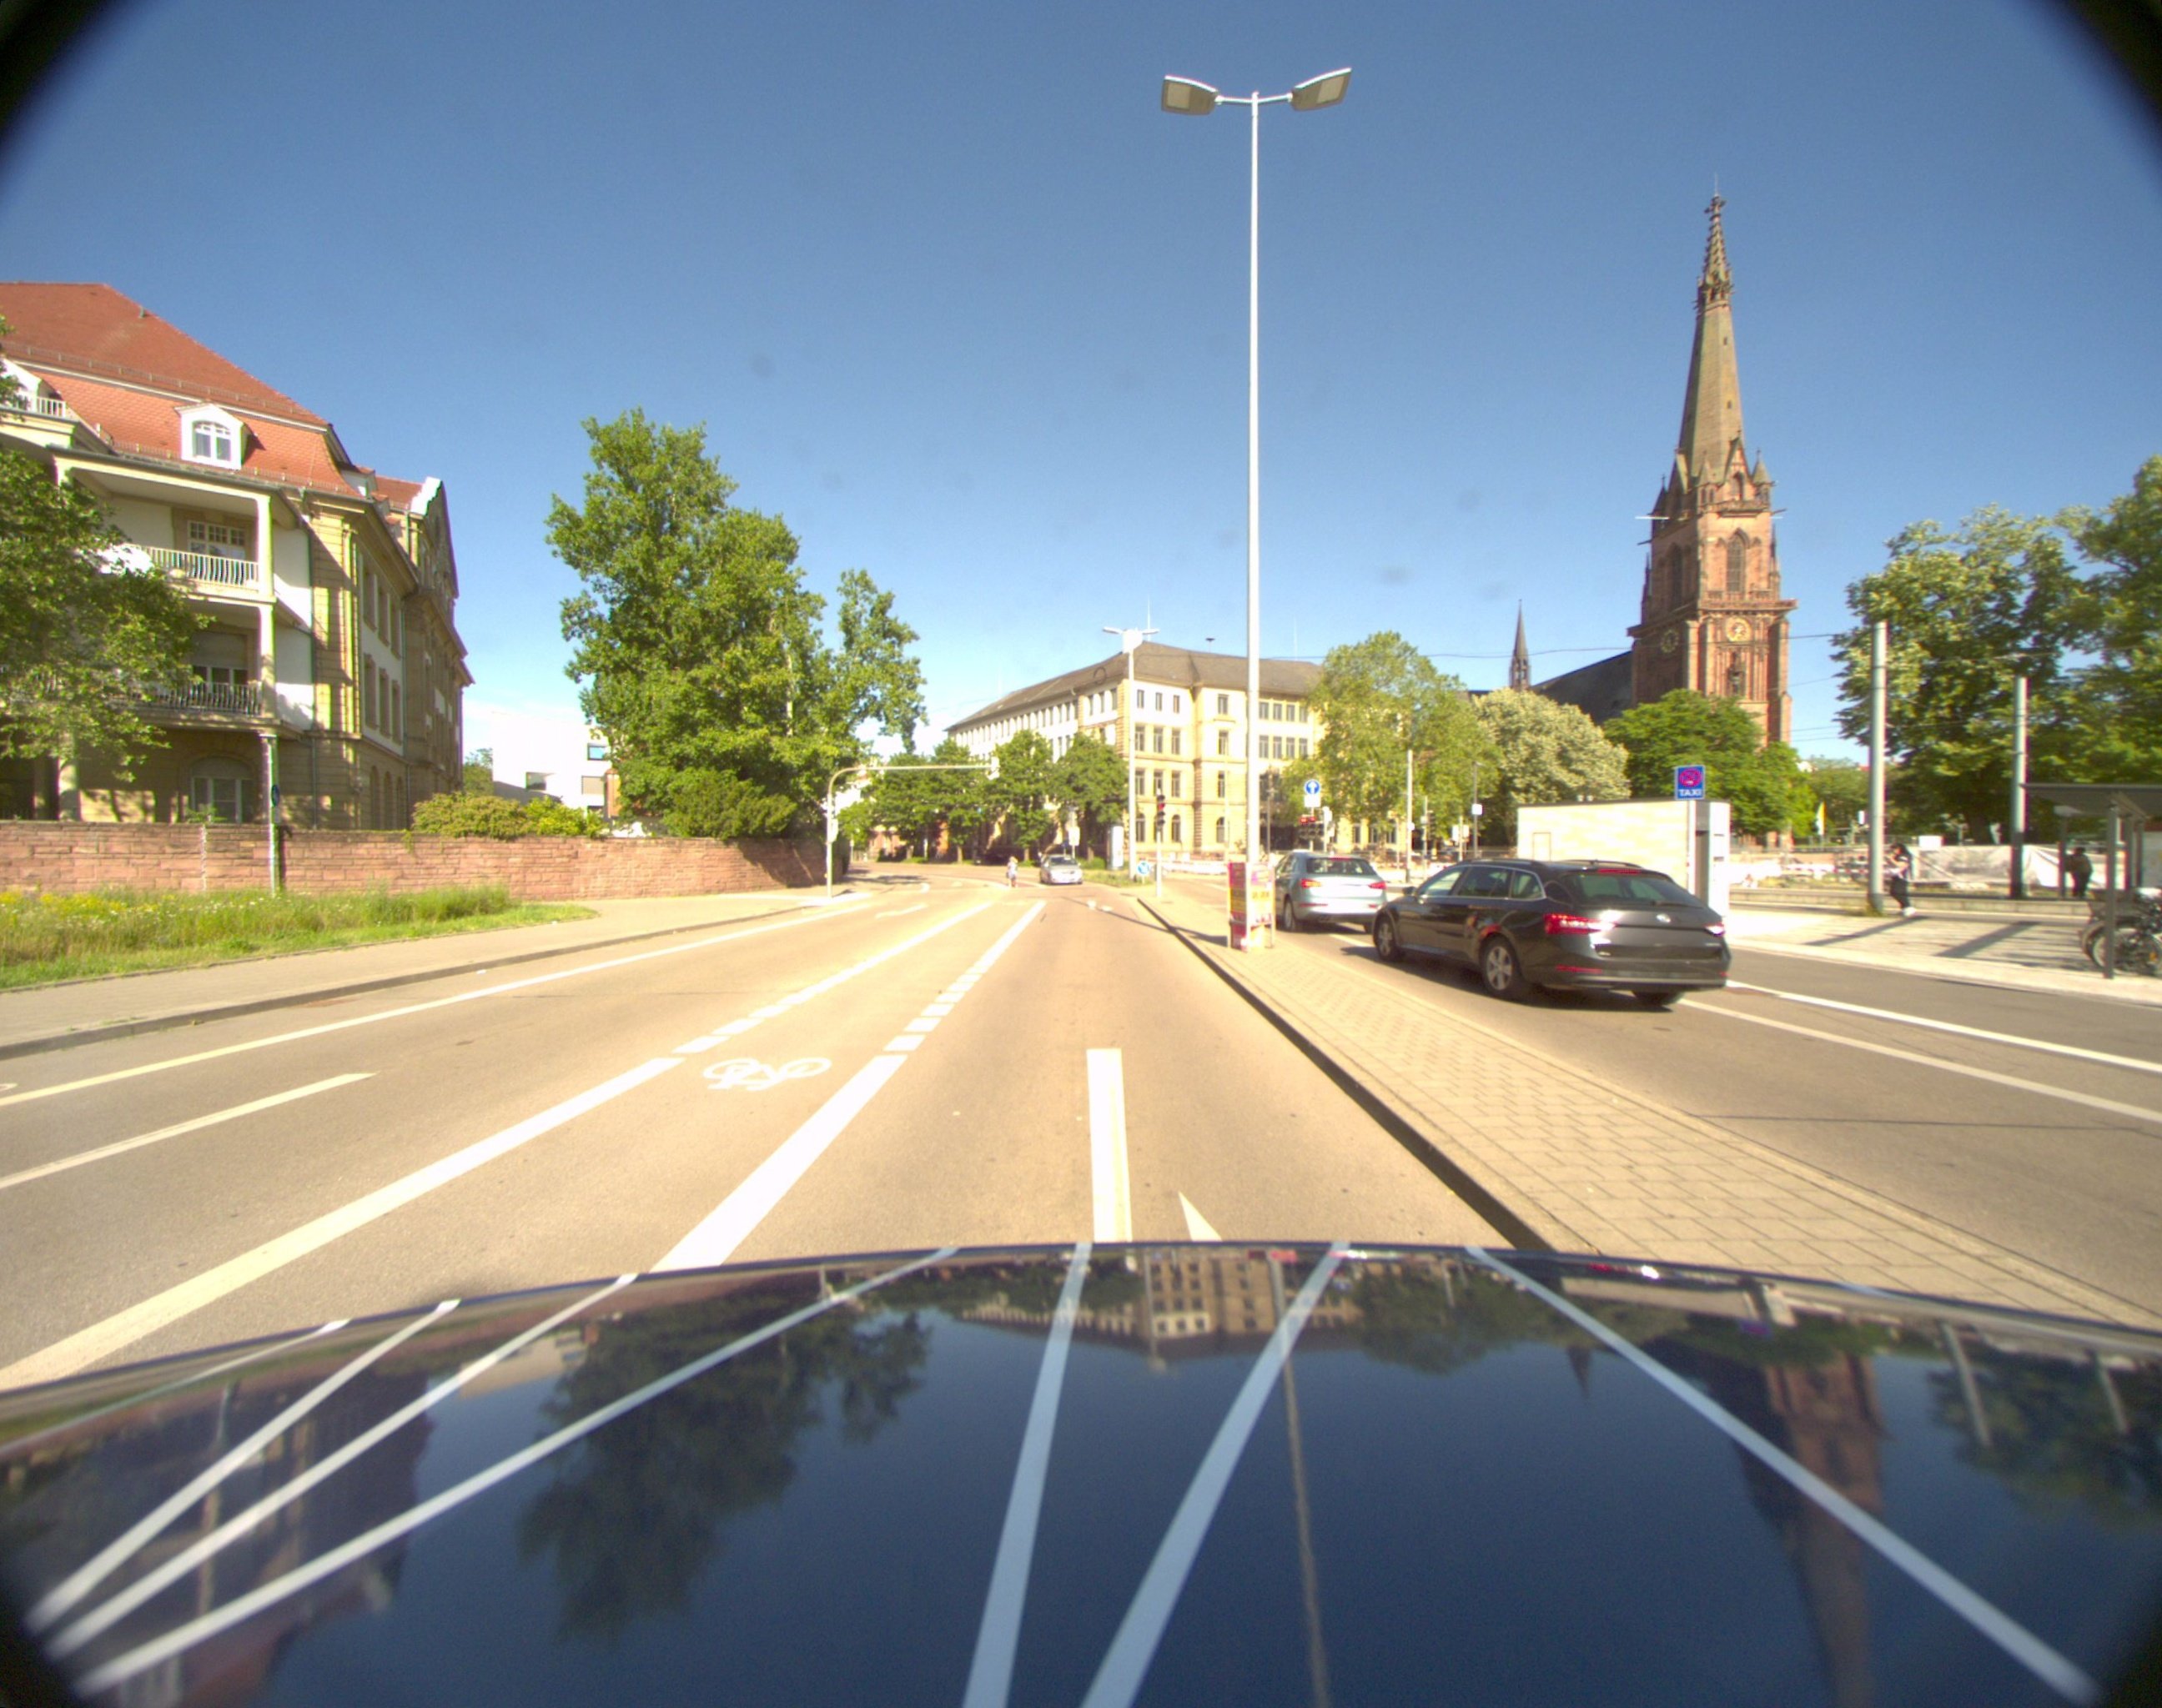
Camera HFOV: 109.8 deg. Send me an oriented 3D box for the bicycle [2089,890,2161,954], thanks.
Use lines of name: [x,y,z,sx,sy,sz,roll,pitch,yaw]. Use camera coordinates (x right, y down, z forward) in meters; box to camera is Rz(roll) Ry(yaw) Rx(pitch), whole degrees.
bicycle: [17.963,1.140,12.466,0.407,0.993,1.679,-3,2,-33]

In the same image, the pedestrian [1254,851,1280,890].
pedestrian: [8.159,0.720,33.355,0.932,1.657,0.630,0,1,-9]

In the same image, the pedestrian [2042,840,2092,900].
pedestrian: [30.603,0.491,23.601,0.619,1.849,0.703,0,1,11]

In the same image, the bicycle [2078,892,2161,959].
bicycle: [17.184,1.144,12.019,0.407,0.993,1.679,-3,2,-33]

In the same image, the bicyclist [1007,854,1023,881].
bicyclist: [-3.447,0.711,39.704,0.741,1.363,0.626,-2,1,-6]

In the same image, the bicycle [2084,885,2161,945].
bicycle: [19.027,1.086,13.344,0.407,0.993,1.679,-3,2,-33]

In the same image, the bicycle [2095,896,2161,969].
bicycle: [16.127,1.185,11.005,0.407,0.993,1.678,-3,3,-33]

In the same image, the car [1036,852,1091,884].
car: [-1.025,0.716,41.509,2.001,1.580,4.846,-3,1,-13]

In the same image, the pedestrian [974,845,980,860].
pedestrian: [-13.389,-0.189,97.798,0.578,1.893,0.781,-1,1,-36]

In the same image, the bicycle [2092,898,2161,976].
bicycle: [15.029,1.168,10.215,0.407,0.993,1.678,-3,3,-33]

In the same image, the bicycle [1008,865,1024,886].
bicycle: [-3.427,1.123,39.724,0.741,0.989,2.305,-2,1,-6]

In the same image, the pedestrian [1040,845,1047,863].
pedestrian: [-4.293,-0.025,87.215,0.557,2.002,0.645,-1,1,-37]

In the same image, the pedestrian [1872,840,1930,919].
pedestrian: [19.588,0.598,18.160,0.702,1.849,0.620,0,1,-6]

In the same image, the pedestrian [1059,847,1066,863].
pedestrian: [-1.958,0.081,82.548,0.540,1.710,0.545,-1,1,-37]

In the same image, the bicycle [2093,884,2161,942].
bicycle: [19.513,1.067,13.586,0.407,0.993,1.679,-3,2,-33]

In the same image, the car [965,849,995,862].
car: [-12.076,0.144,90.578,1.839,1.587,3.989,-1,1,-37]

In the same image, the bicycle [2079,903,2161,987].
bicycle: [13.984,1.191,9.557,0.407,0.993,1.678,-3,3,-33]

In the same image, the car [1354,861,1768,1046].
car: [5.046,0.894,9.022,1.818,1.496,4.784,2,0,-1]

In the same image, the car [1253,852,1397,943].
car: [4.819,0.777,15.676,1.792,1.572,4.258,1,0,3]
